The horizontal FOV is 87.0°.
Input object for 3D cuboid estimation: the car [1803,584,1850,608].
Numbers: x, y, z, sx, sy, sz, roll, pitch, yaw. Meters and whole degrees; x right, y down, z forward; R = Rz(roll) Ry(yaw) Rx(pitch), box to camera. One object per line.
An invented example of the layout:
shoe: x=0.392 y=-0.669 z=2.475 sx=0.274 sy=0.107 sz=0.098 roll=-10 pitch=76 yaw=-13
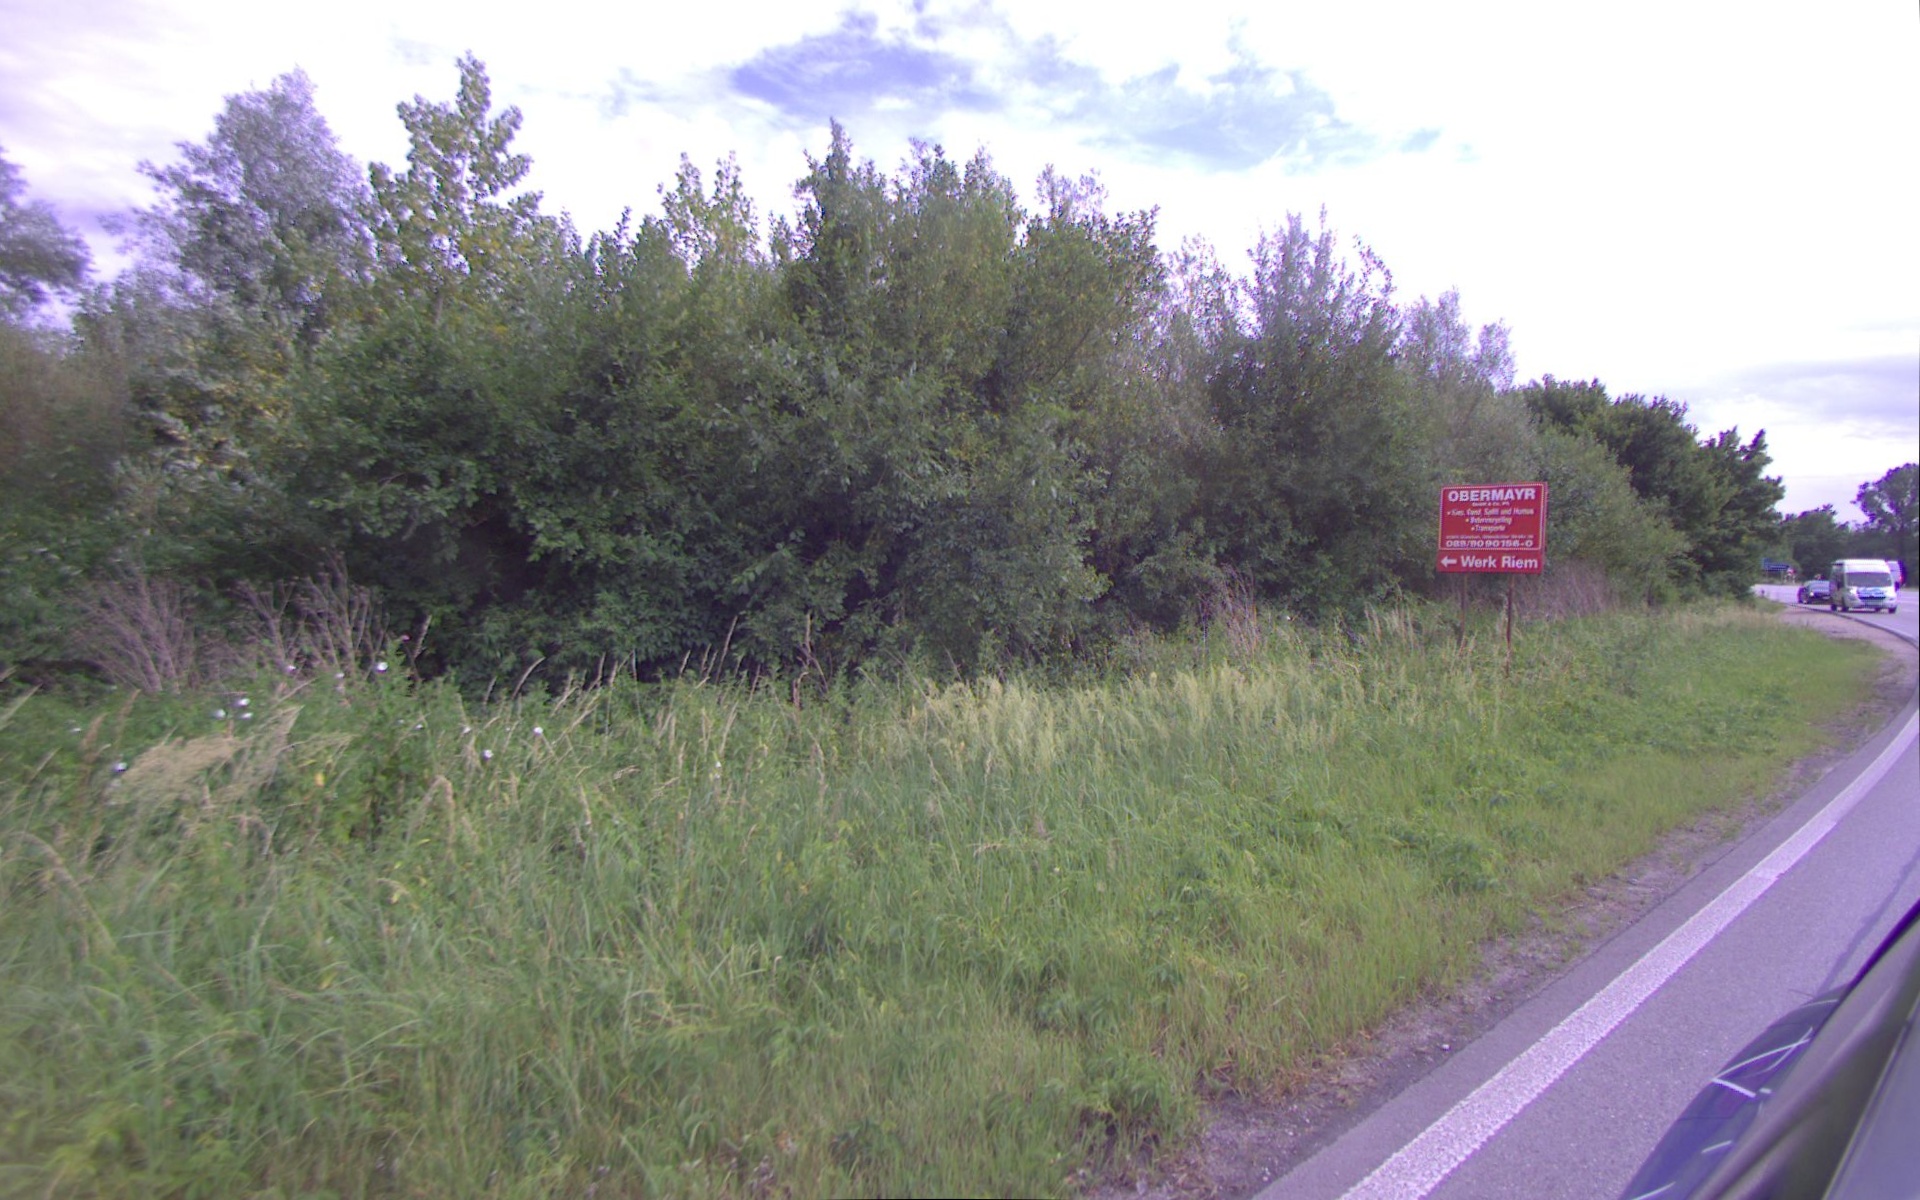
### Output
car: x=54.655 y=-0.270 z=63.913 sx=1.720 sy=1.381 sz=3.952 roll=2 pitch=2 yaw=34

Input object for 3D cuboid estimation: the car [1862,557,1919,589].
car: x=82.370 y=-2.388 z=89.571 sx=2.421 sy=2.708 sz=6.817 roll=0 pitch=1 yaw=30

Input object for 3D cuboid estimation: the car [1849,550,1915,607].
car: x=47.017 y=-1.069 z=51.686 sx=2.210 sy=2.704 sz=5.163 roll=-2 pitch=0 yaw=40

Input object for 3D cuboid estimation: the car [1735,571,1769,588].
car: x=70.070 y=-1.819 z=89.548 sx=1.717 sy=1.381 sz=3.960 roll=2 pitch=2 yaw=29
